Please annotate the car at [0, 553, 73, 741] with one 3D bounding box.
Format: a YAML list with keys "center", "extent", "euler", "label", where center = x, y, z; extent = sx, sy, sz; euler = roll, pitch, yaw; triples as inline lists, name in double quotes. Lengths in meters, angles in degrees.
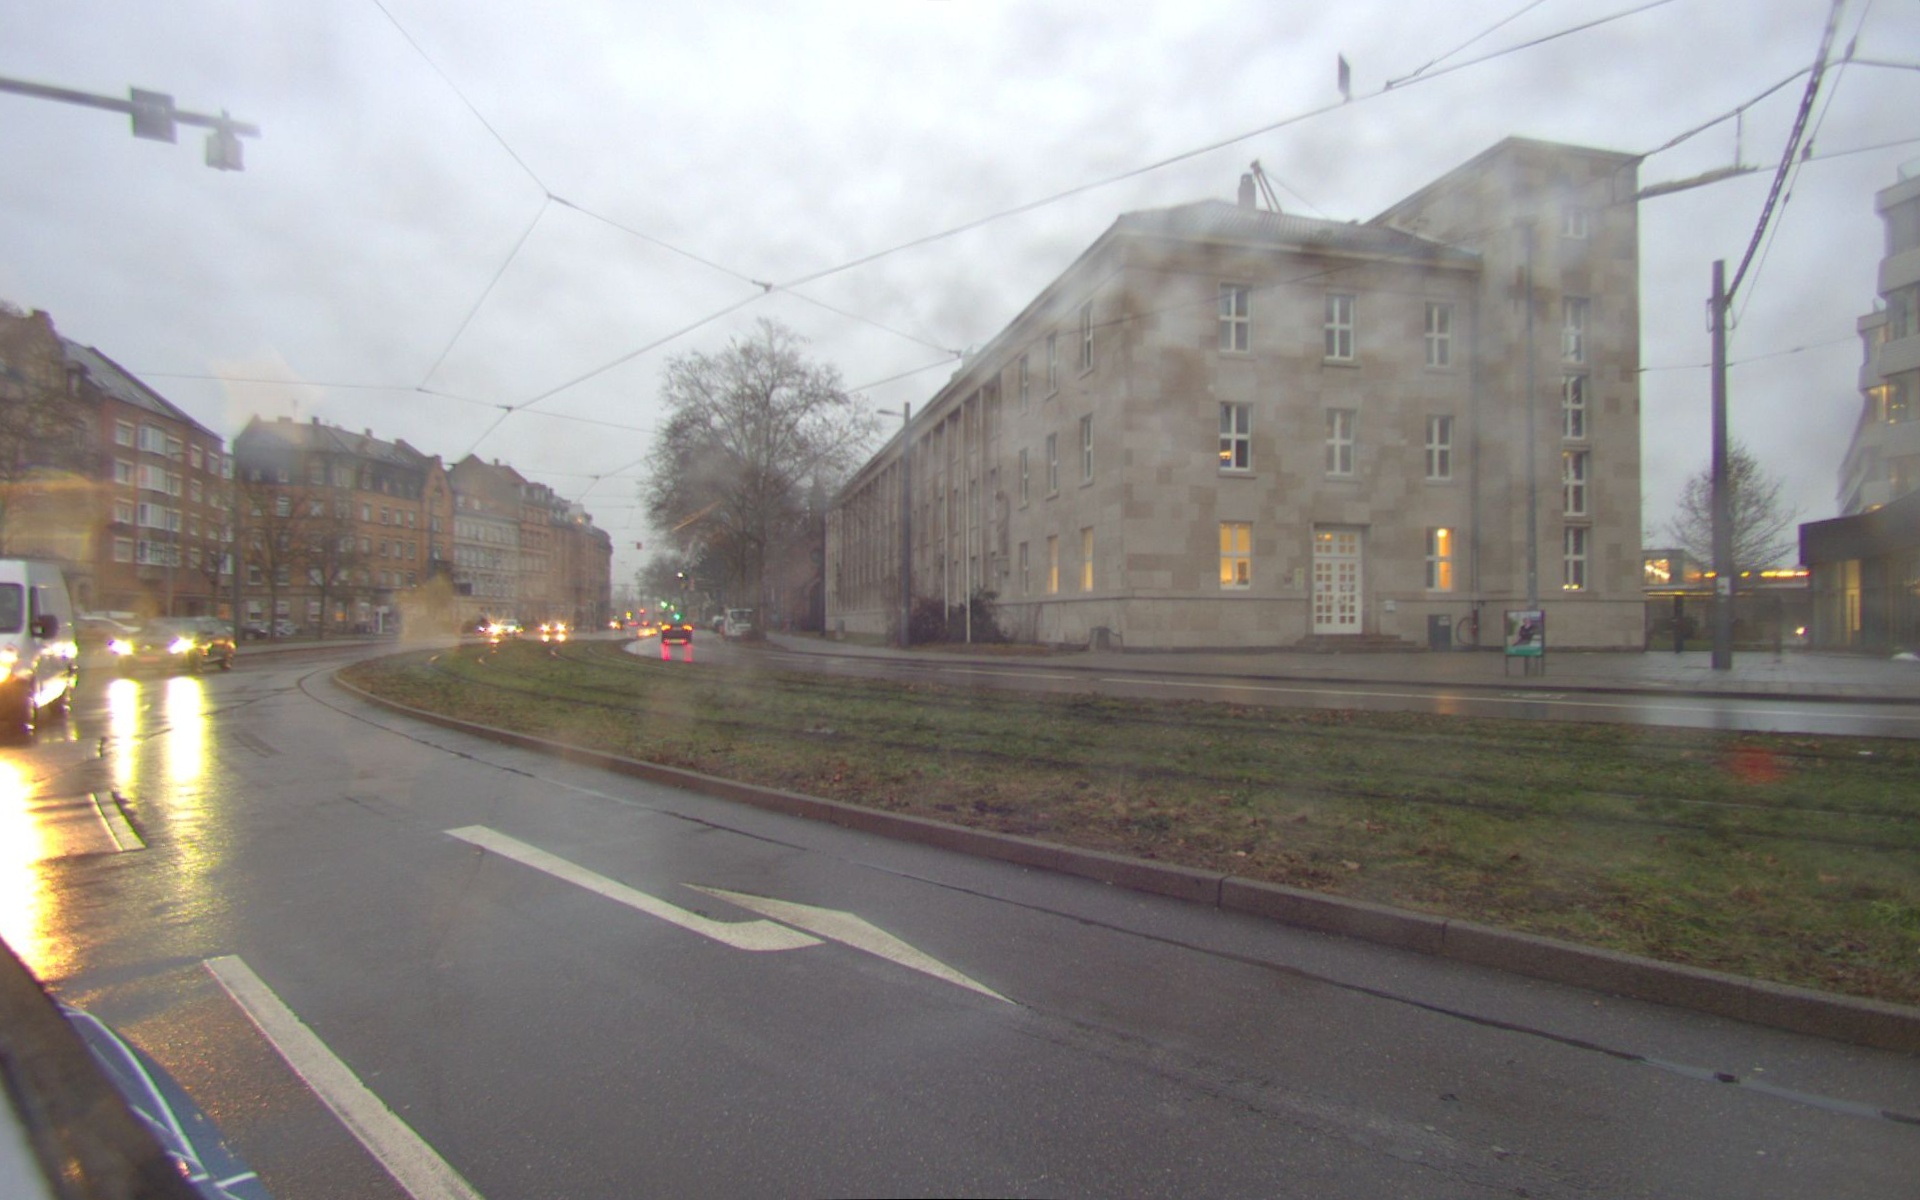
- center: [-14.680, 0.670, 14.718]
  extent: [2.096, 2.398, 5.652]
  euler: [0, -1, -35]
  label: "car"

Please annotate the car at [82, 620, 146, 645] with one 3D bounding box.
- center: [-53.414, 2.043, 63.958]
  extent: [1.449, 1.555, 3.881]
  euler: [0, -2, -12]
  label: "car"

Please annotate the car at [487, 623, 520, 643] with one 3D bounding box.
- center: [-33.516, 2.391, 74.401]
  extent: [1.865, 1.424, 3.959]
  euler: [0, -2, -19]
  label: "car"

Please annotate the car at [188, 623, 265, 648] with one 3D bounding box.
- center: [-44.682, 2.138, 61.684]
  extent: [3.706, 1.364, 1.605]
  euler: [-2, 0, -39]
  label: "car"

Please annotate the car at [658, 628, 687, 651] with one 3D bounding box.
- center: [-21.650, 2.959, 76.414]
  extent: [1.797, 1.446, 4.667]
  euler: [-2, 0, -12]
  label: "car"

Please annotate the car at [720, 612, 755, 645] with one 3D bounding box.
- center: [-14.607, 1.819, 66.275]
  extent: [1.966, 2.029, 4.522]
  euler: [-2, 0, -15]
  label: "car"

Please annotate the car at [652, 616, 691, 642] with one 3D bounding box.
- center: [-17.338, 1.733, 60.635]
  extent: [1.633, 1.411, 4.538]
  euler: [-2, 0, -24]
  label: "car"

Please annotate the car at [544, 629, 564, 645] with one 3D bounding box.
- center: [-40.327, 3.651, 100.529]
  extent: [1.809, 1.497, 3.533]
  euler: [0, -2, -22]
  label: "car"

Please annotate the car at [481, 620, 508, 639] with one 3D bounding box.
- center: [-42.186, 2.683, 91.816]
  extent: [1.694, 1.630, 3.950]
  euler: [0, -2, -17]
  label: "car"

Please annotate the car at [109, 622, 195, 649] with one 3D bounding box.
- center: [-45.372, 1.987, 56.915]
  extent: [3.706, 1.364, 1.605]
  euler: [-2, 0, -39]
  label: "car"

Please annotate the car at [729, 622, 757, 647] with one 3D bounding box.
- center: [-13.296, 2.073, 61.911]
  extent: [1.535, 1.439, 2.963]
  euler: [0, 0, -14]
  label: "car"
